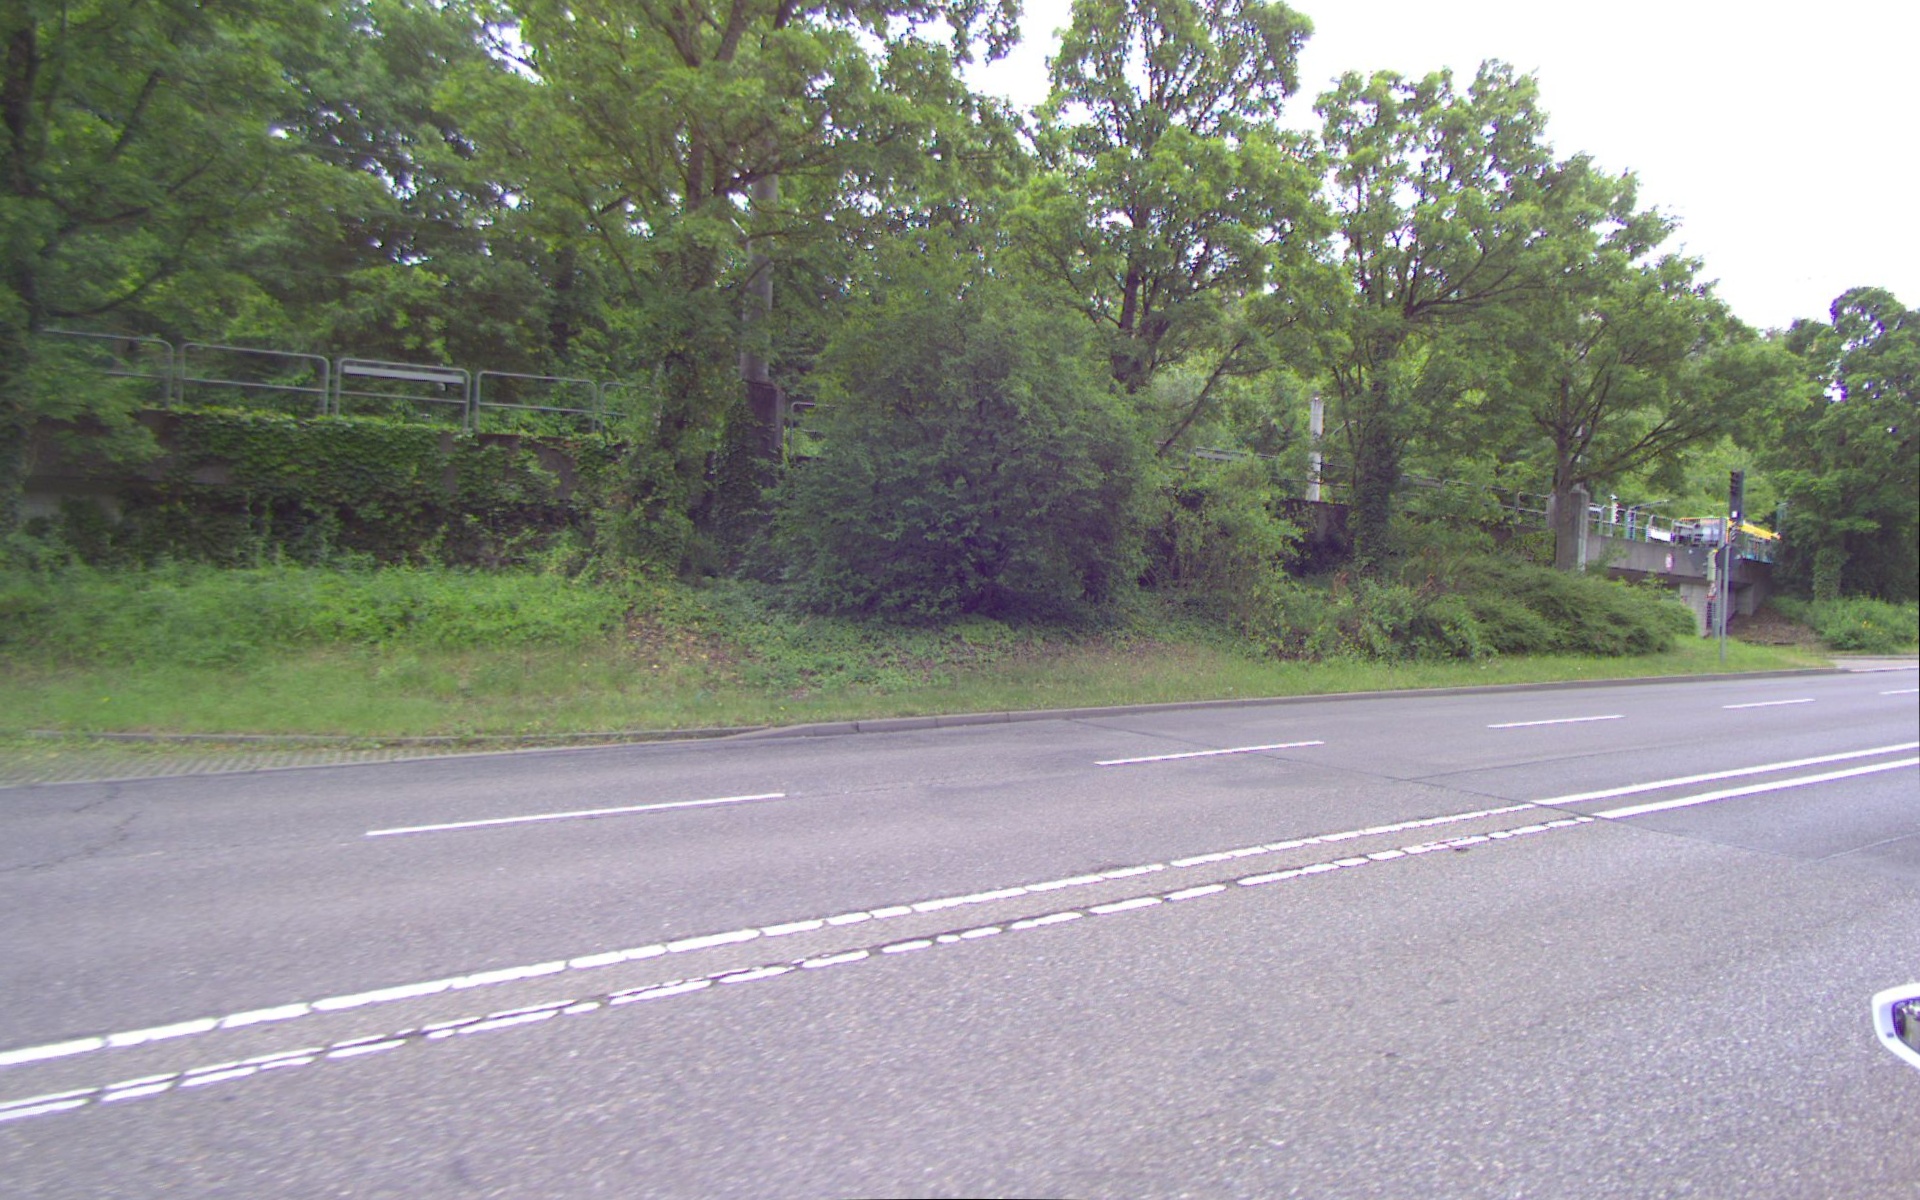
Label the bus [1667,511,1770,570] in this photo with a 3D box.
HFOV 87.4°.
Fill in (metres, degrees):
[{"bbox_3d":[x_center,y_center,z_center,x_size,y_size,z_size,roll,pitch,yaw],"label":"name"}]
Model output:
[{"bbox_3d":[43.830,-3.332,57.950,7.867,2.826,2.523,2,-1,-36],"label":"bus"}]
